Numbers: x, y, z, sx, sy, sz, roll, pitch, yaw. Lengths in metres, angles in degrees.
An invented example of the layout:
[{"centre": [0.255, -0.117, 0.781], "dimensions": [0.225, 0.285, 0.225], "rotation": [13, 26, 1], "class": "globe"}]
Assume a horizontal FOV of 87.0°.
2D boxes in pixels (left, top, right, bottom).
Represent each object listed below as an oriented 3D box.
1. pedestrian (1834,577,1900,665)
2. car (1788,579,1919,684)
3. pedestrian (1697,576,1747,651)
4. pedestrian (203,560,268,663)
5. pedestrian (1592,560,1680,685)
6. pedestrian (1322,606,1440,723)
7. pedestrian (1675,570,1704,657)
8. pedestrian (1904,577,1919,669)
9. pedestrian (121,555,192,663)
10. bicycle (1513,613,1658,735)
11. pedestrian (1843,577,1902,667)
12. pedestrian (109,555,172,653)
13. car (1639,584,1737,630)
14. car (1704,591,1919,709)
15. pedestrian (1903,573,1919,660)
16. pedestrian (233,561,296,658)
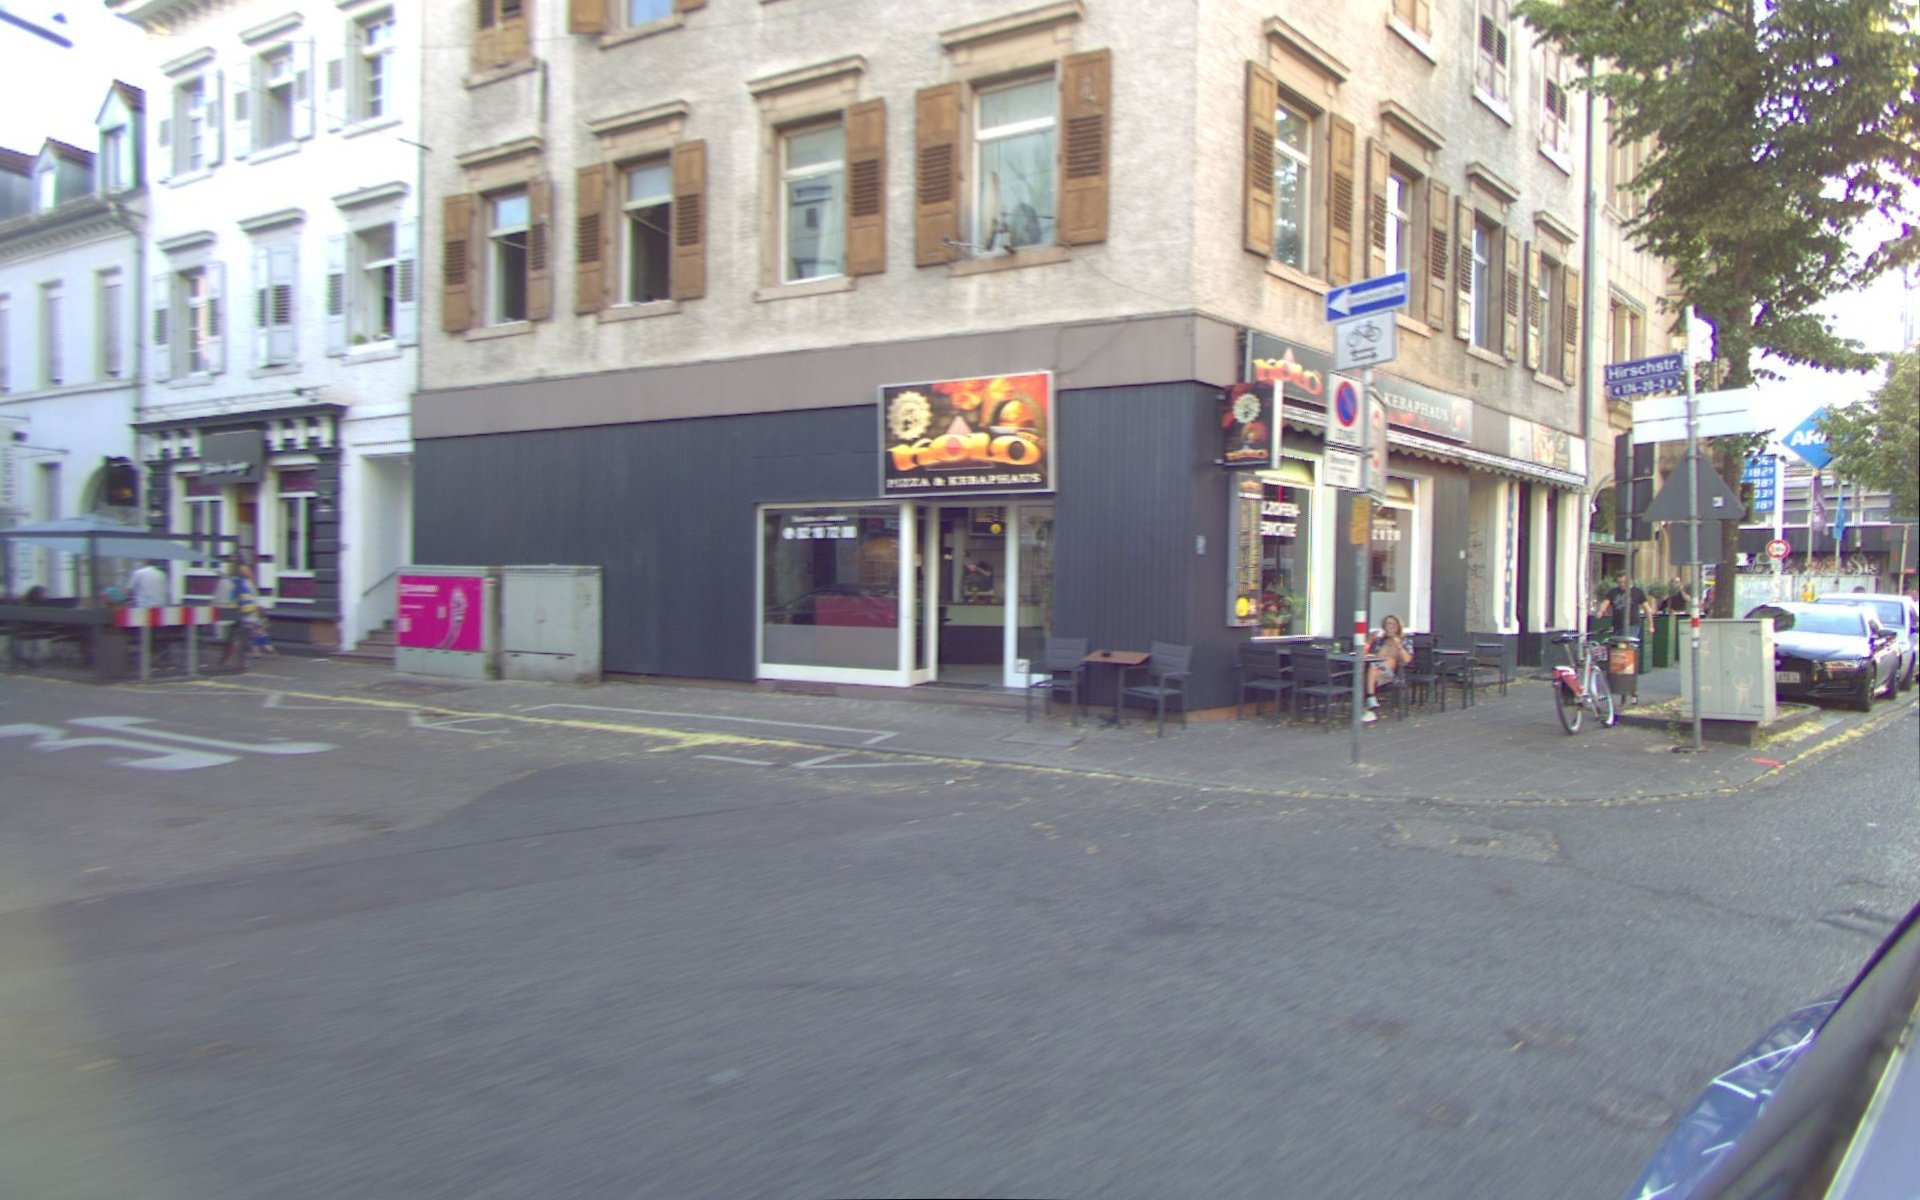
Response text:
[{"centre": [18.619, 0.415, 20.796], "dimensions": [0.642, 1.721, 0.667], "rotation": [3, 2, 5], "class": "pedestrian"}, {"centre": [16.391, 0.488, 18.116], "dimensions": [3.942, 1.594, 1.691], "rotation": [0, 4, -41], "class": "car"}, {"centre": [16.557, 0.279, 21.992], "dimensions": [0.689, 1.581, 0.660], "rotation": [0, 3, -41], "class": "pedestrian"}, {"centre": [-11.686, 0.172, 16.320], "dimensions": [0.825, 1.592, 0.799], "rotation": [0, 0, -38], "class": "pedestrian"}, {"centre": [10.683, 0.330, 15.989], "dimensions": [1.078, 1.876, 0.824], "rotation": [0, 3, -42], "class": "pedestrian"}, {"centre": [4.740, 0.688, 11.367], "dimensions": [1.337, 1.155, 0.683], "rotation": [-2, 4, -41], "class": "pedestrian"}, {"centre": [16.179, 0.293, 22.443], "dimensions": [0.458, 1.898, 0.495], "rotation": [2, 1, 34], "class": "pedestrian"}, {"centre": [18.949, 0.444, 19.732], "dimensions": [0.676, 1.776, 0.814], "rotation": [2, 2, 39], "class": "pedestrian"}, {"centre": [-12.330, 0.125, 15.557], "dimensions": [0.825, 1.592, 0.799], "rotation": [0, 0, -38], "class": "pedestrian"}, {"centre": [6.763, 0.741, 10.915], "dimensions": [1.866, 1.125, 0.780], "rotation": [-1, 3, -41], "class": "bicycle"}, {"centre": [18.273, 0.425, 20.277], "dimensions": [0.675, 1.726, 0.815], "rotation": [4, 3, 35], "class": "pedestrian"}, {"centre": [-14.303, 0.064, 17.681], "dimensions": [0.825, 1.658, 0.799], "rotation": [0, 0, -38], "class": "pedestrian"}, {"centre": [25.804, 0.196, 35.827], "dimensions": [4.823, 1.448, 1.738], "rotation": [-2, 3, -41], "class": "car"}, {"centre": [12.691, 0.621, 14.925], "dimensions": [4.445, 1.392, 1.789], "rotation": [0, 4, -41], "class": "car"}, {"centre": [20.923, 0.379, 21.595], "dimensions": [1.013, 1.847, 0.769], "rotation": [4, 3, 40], "class": "pedestrian"}, {"centre": [-11.823, 0.147, 17.202], "dimensions": [0.825, 1.592, 0.799], "rotation": [0, 0, -38], "class": "pedestrian"}]
